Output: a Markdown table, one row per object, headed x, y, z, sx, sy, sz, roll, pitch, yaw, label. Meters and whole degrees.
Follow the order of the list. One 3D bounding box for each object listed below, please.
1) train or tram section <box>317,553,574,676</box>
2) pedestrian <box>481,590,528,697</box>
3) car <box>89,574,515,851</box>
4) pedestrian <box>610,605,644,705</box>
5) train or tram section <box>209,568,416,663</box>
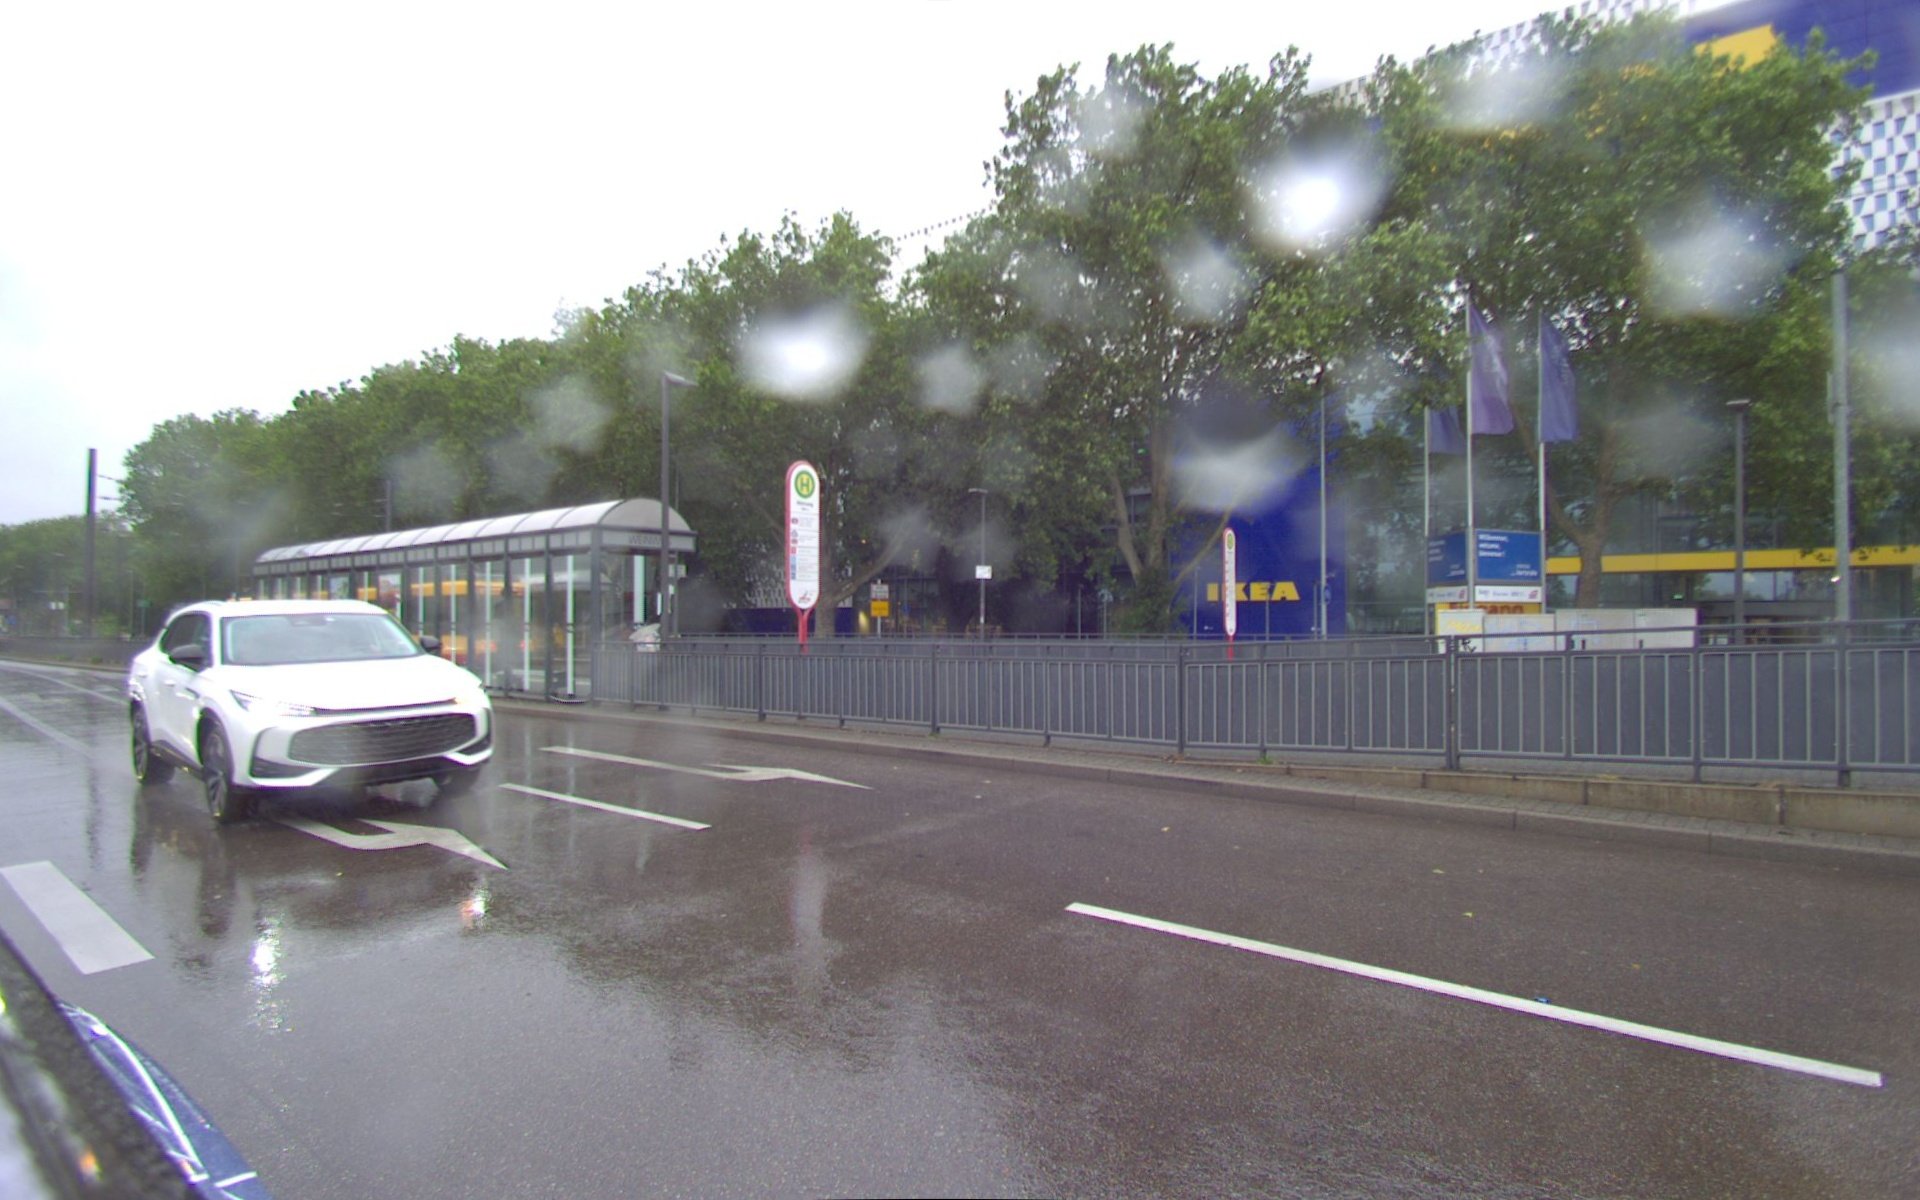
| x | y | z | sx | sy | sz | roll | pitch | yaw | label |
| --- | --- | --- | --- | --- | --- | --- | --- | --- | --- |
| -19.516 | 0.514 | 37.670 | 13.245 | 3.868 | 3.703 | -1 | 0 | 40 | train or tram section |
| -8.318 | 0.775 | 18.463 | 0.646 | 1.885 | 0.774 | -1 | 0 | -33 | pedestrian |
| -5.904 | 0.746 | 8.813 | 4.661 | 1.788 | 1.910 | -1 | 0 | 41 | car |
| -5.158 | 0.836 | 15.661 | 0.317 | 1.504 | 0.416 | -2 | 1 | -44 | pedestrian |
| -30.483 | 0.711 | 47.061 | 15.560 | 3.827 | 3.703 | -1 | 0 | 40 | train or tram section |
